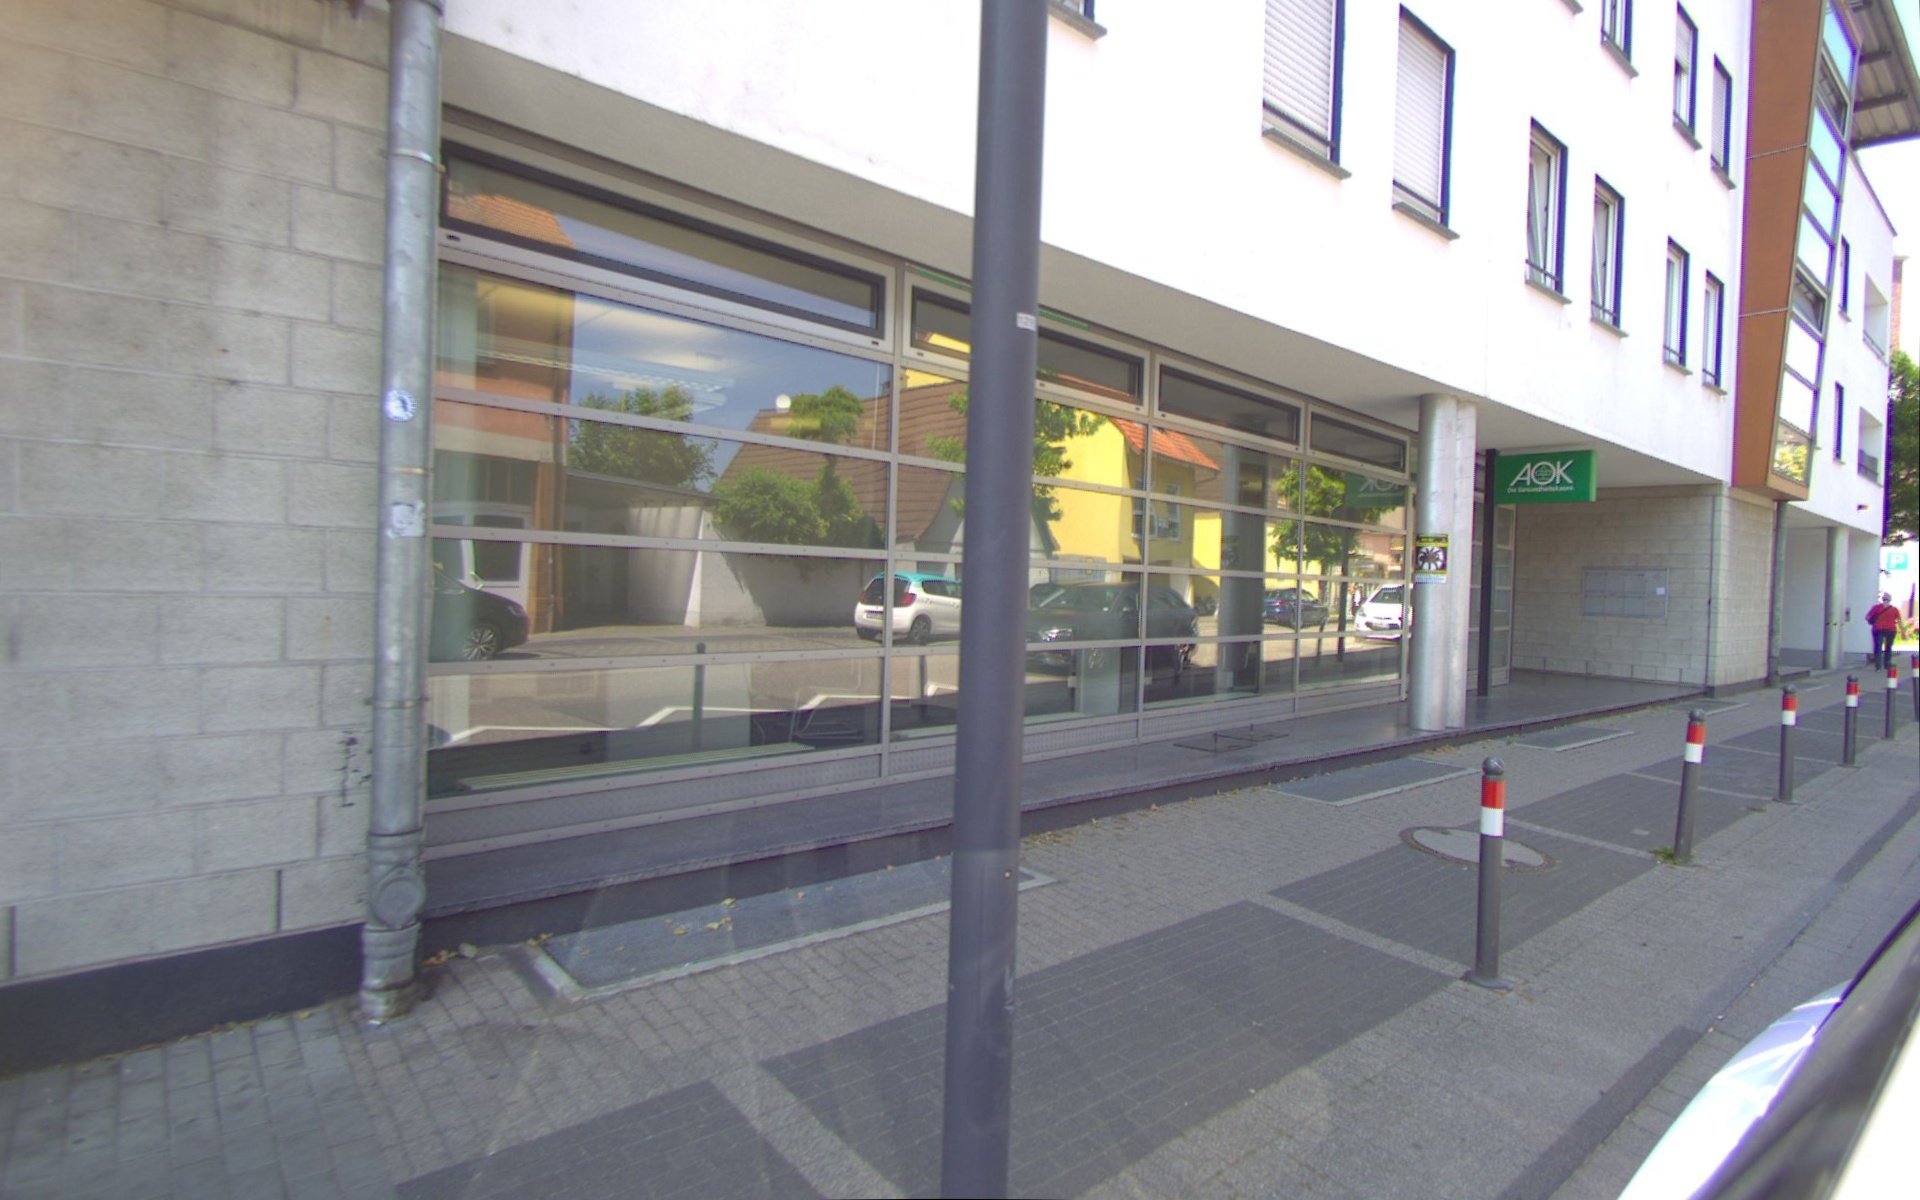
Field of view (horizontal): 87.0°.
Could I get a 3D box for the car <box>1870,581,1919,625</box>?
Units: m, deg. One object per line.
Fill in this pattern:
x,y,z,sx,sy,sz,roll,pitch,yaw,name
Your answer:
43.262,0.196,44.786,1.965,1.882,4.202,0,3,-41,car

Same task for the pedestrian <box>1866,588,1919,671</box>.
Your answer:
19.540,0.593,21.034,0.903,1.607,0.826,1,4,-40,pedestrian
